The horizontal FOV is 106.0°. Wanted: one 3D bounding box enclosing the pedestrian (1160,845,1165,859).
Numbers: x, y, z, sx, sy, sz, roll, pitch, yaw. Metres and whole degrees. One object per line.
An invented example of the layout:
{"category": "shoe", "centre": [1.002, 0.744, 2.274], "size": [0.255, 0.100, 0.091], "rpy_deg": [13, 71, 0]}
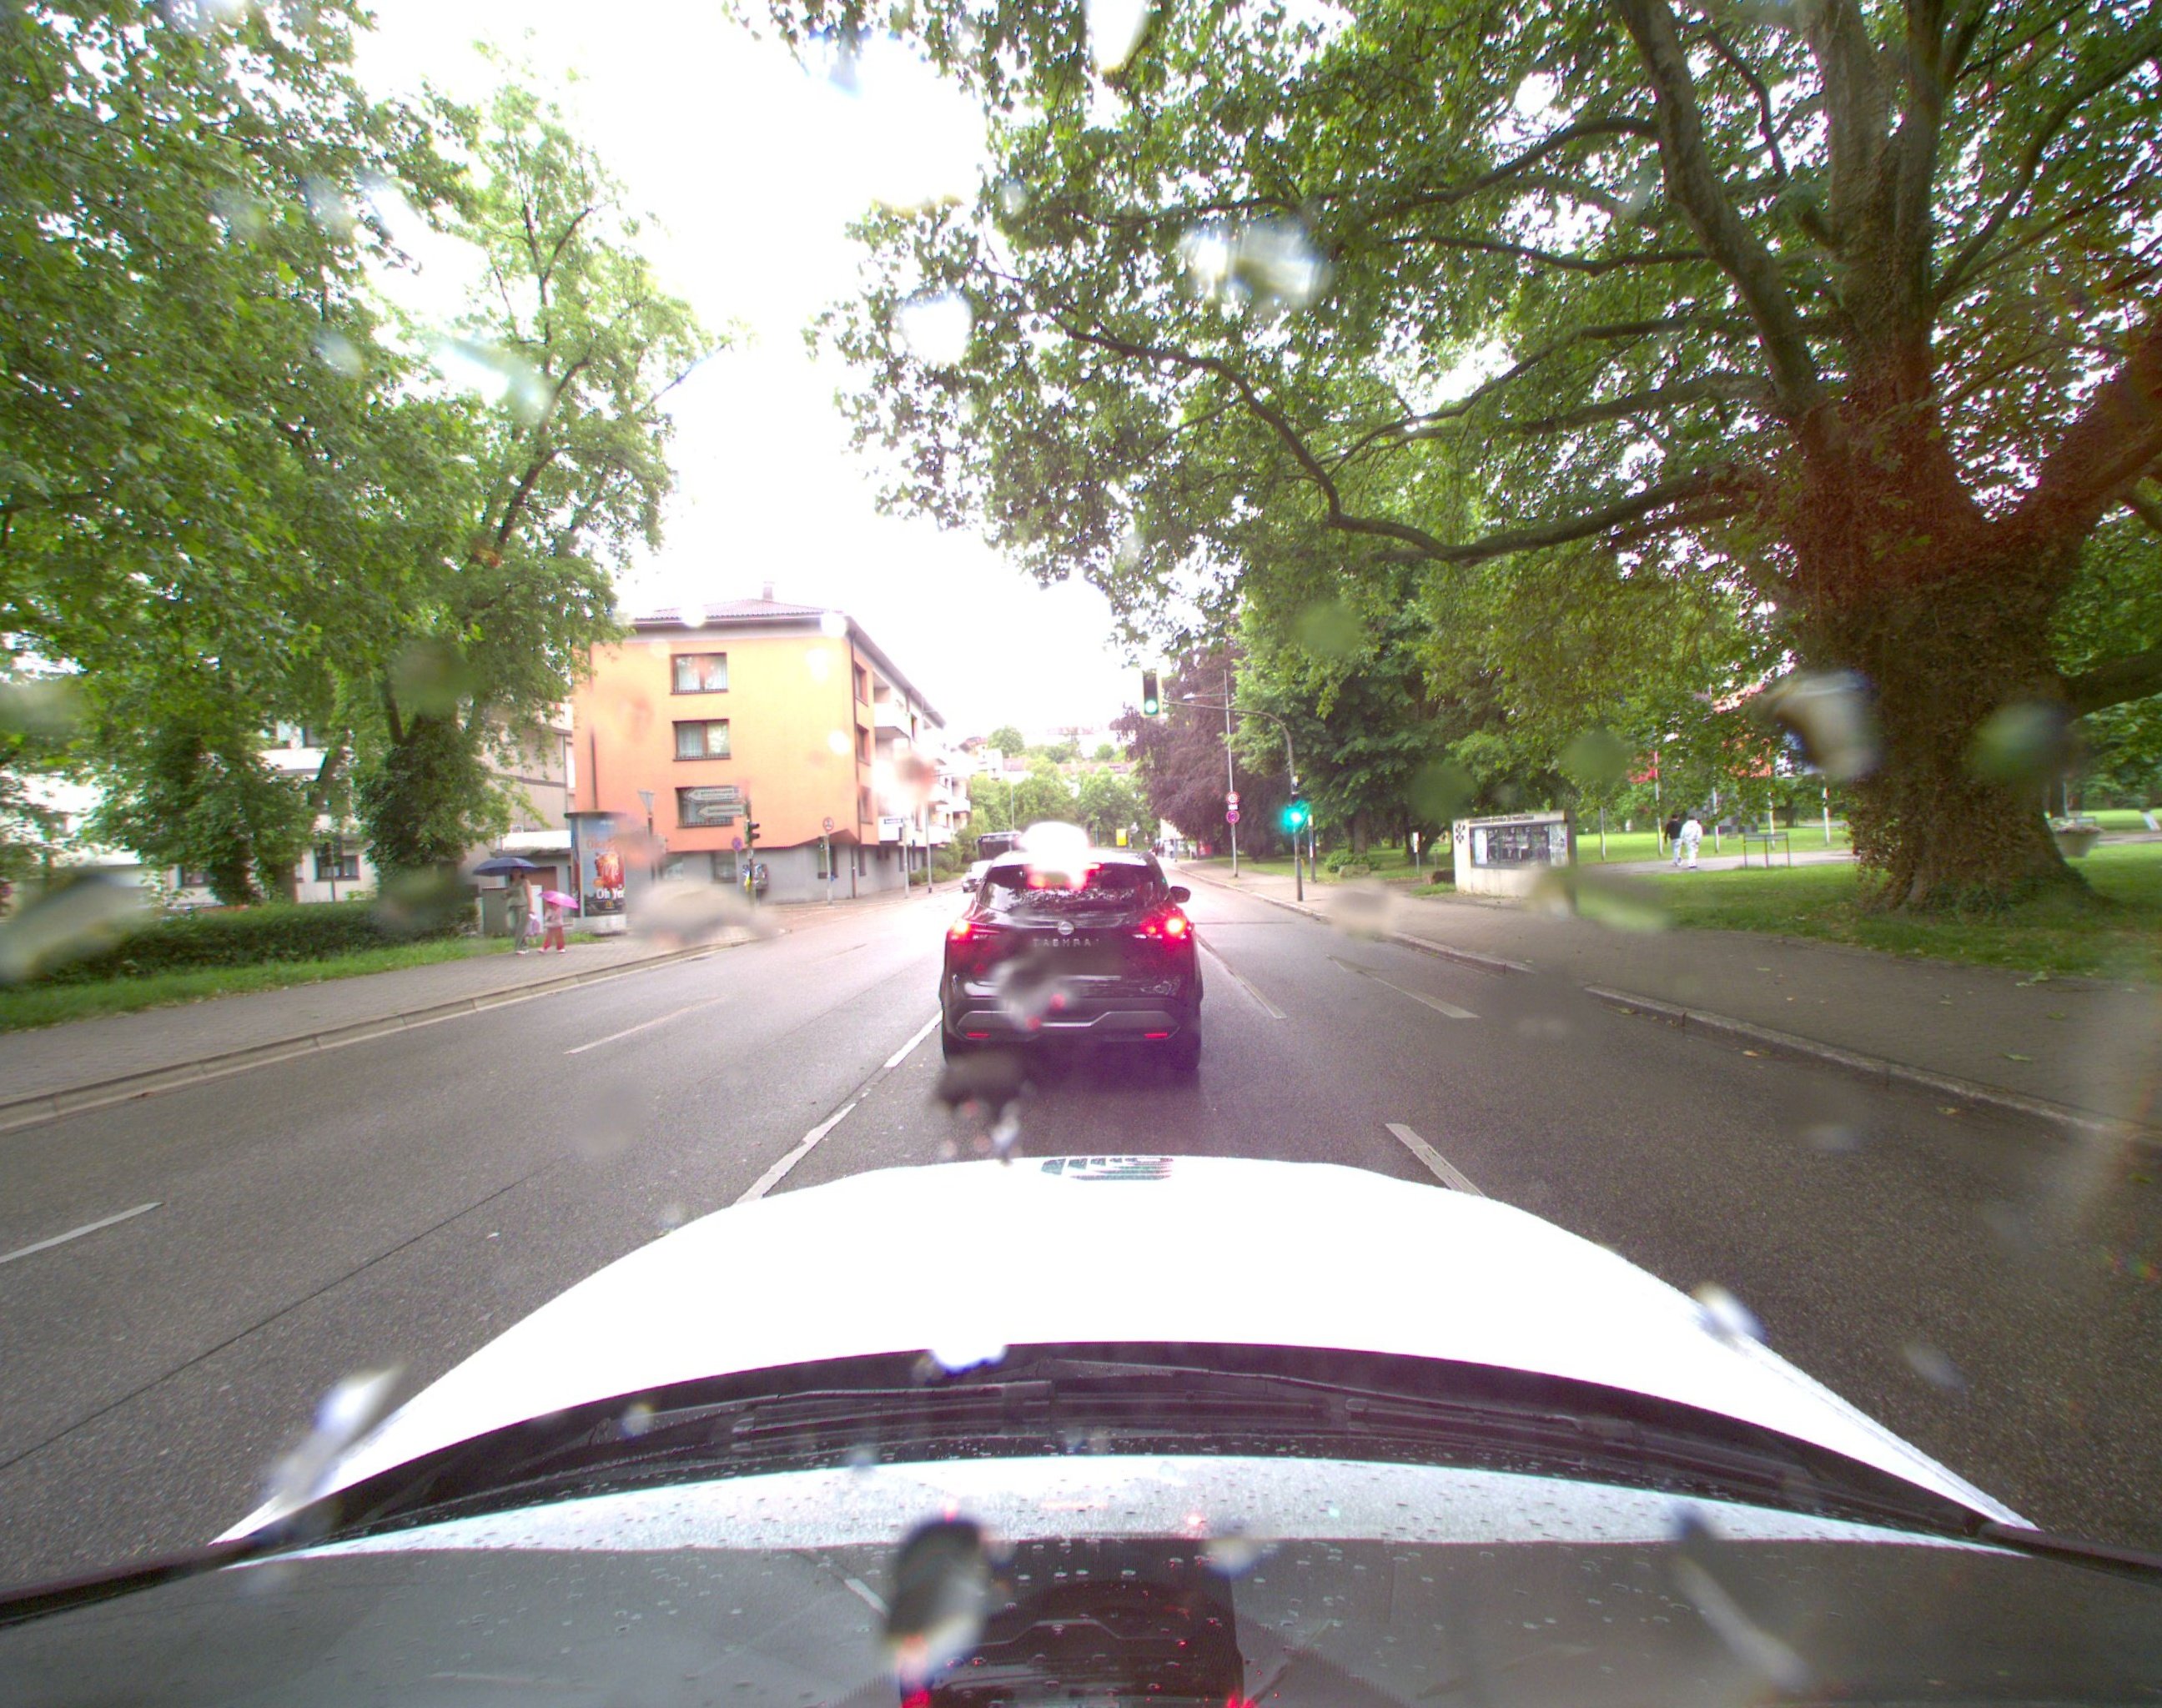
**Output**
{"category": "pedestrian", "centre": [9.540, -0.216, 95.037], "size": [0.513, 1.655, 0.550], "rpy_deg": [0, -1, 1]}

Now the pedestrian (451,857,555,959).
{"category": "pedestrian", "centre": [-10.417, 0.936, 14.725], "size": [0.988, 1.742, 1.210], "rpy_deg": [-1, 0, 1]}

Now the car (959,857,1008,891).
{"category": "car", "centre": [-4.798, 0.965, 40.614], "size": [1.802, 1.417, 4.031], "rpy_deg": [-4, 0, 1]}

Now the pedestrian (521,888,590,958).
{"category": "pedestrian", "centre": [-9.511, 1.233, 14.764], "size": [0.681, 1.175, 0.827], "rpy_deg": [-1, 0, 1]}

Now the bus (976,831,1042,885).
{"category": "bus", "centre": [-4.512, 0.242, 53.483], "size": [2.756, 2.974, 11.786], "rpy_deg": [-3, 0, 2]}

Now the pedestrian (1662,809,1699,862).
{"category": "pedestrian", "centre": [20.214, -0.627, 27.461], "size": [0.663, 1.756, 0.722], "rpy_deg": [0, -1, -7]}

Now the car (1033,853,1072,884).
{"category": "car", "centre": [-1.395, 0.702, 40.933], "size": [1.618, 1.415, 3.456], "rpy_deg": [-3, 0, 2]}

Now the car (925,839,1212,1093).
{"category": "car", "centre": [-0.019, 0.720, 7.139], "size": [1.799, 1.590, 4.001], "rpy_deg": [0, -1, 2]}

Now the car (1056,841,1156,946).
{"category": "car", "centre": [0.547, 0.674, 15.847], "size": [1.615, 1.709, 3.774], "rpy_deg": [-3, 0, 3]}

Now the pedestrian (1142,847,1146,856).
{"category": "pedestrian", "centre": [13.279, -0.506, 172.353], "size": [0.696, 2.013, 0.583], "rpy_deg": [-3, 0, 1]}

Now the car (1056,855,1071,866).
{"category": "car", "centre": [-2.286, 0.812, 105.976], "size": [1.671, 1.296, 3.752], "rpy_deg": [-4, 0, 1]}

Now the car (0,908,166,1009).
{"category": "car", "centre": [-18.005, 1.738, 13.815], "size": [3.182, 1.524, 1.507], "rpy_deg": [0, -1, -1]}

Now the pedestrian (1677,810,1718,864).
{"category": "pedestrian", "centre": [19.946, -0.544, 26.362], "size": [0.663, 1.712, 0.788], "rpy_deg": [0, -1, -7]}

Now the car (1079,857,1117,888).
{"category": "car", "centre": [0.861, 0.912, 41.258], "size": [1.802, 1.417, 4.031], "rpy_deg": [-2, 0, 1]}

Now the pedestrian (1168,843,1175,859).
{"category": "pedestrian", "centre": [10.891, -0.355, 97.948], "size": [0.616, 1.779, 0.779], "rpy_deg": [-3, 0, 1]}

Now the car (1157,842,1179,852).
{"category": "car", "centre": [17.495, -1.361, 164.240], "size": [3.986, 1.684, 1.994], "rpy_deg": [-3, 0, -9]}

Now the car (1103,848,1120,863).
{"category": "car", "centre": [3.158, 0.186, 83.281], "size": [1.618, 1.415, 3.456], "rpy_deg": [-3, 0, 2]}

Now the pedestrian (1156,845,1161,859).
{"category": "pedestrian", "centre": [9.224, -0.286, 96.960], "size": [0.542, 1.651, 0.490], "rpy_deg": [0, -1, 2]}

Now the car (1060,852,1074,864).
{"category": "car", "centre": [-2.003, 0.526, 116.439], "size": [1.743, 1.633, 3.636], "rpy_deg": [-3, 0, 2]}

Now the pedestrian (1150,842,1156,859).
{"category": "pedestrian", "centre": [9.547, -0.442, 107.695], "size": [0.764, 2.183, 0.712], "rpy_deg": [0, -1, 5]}
